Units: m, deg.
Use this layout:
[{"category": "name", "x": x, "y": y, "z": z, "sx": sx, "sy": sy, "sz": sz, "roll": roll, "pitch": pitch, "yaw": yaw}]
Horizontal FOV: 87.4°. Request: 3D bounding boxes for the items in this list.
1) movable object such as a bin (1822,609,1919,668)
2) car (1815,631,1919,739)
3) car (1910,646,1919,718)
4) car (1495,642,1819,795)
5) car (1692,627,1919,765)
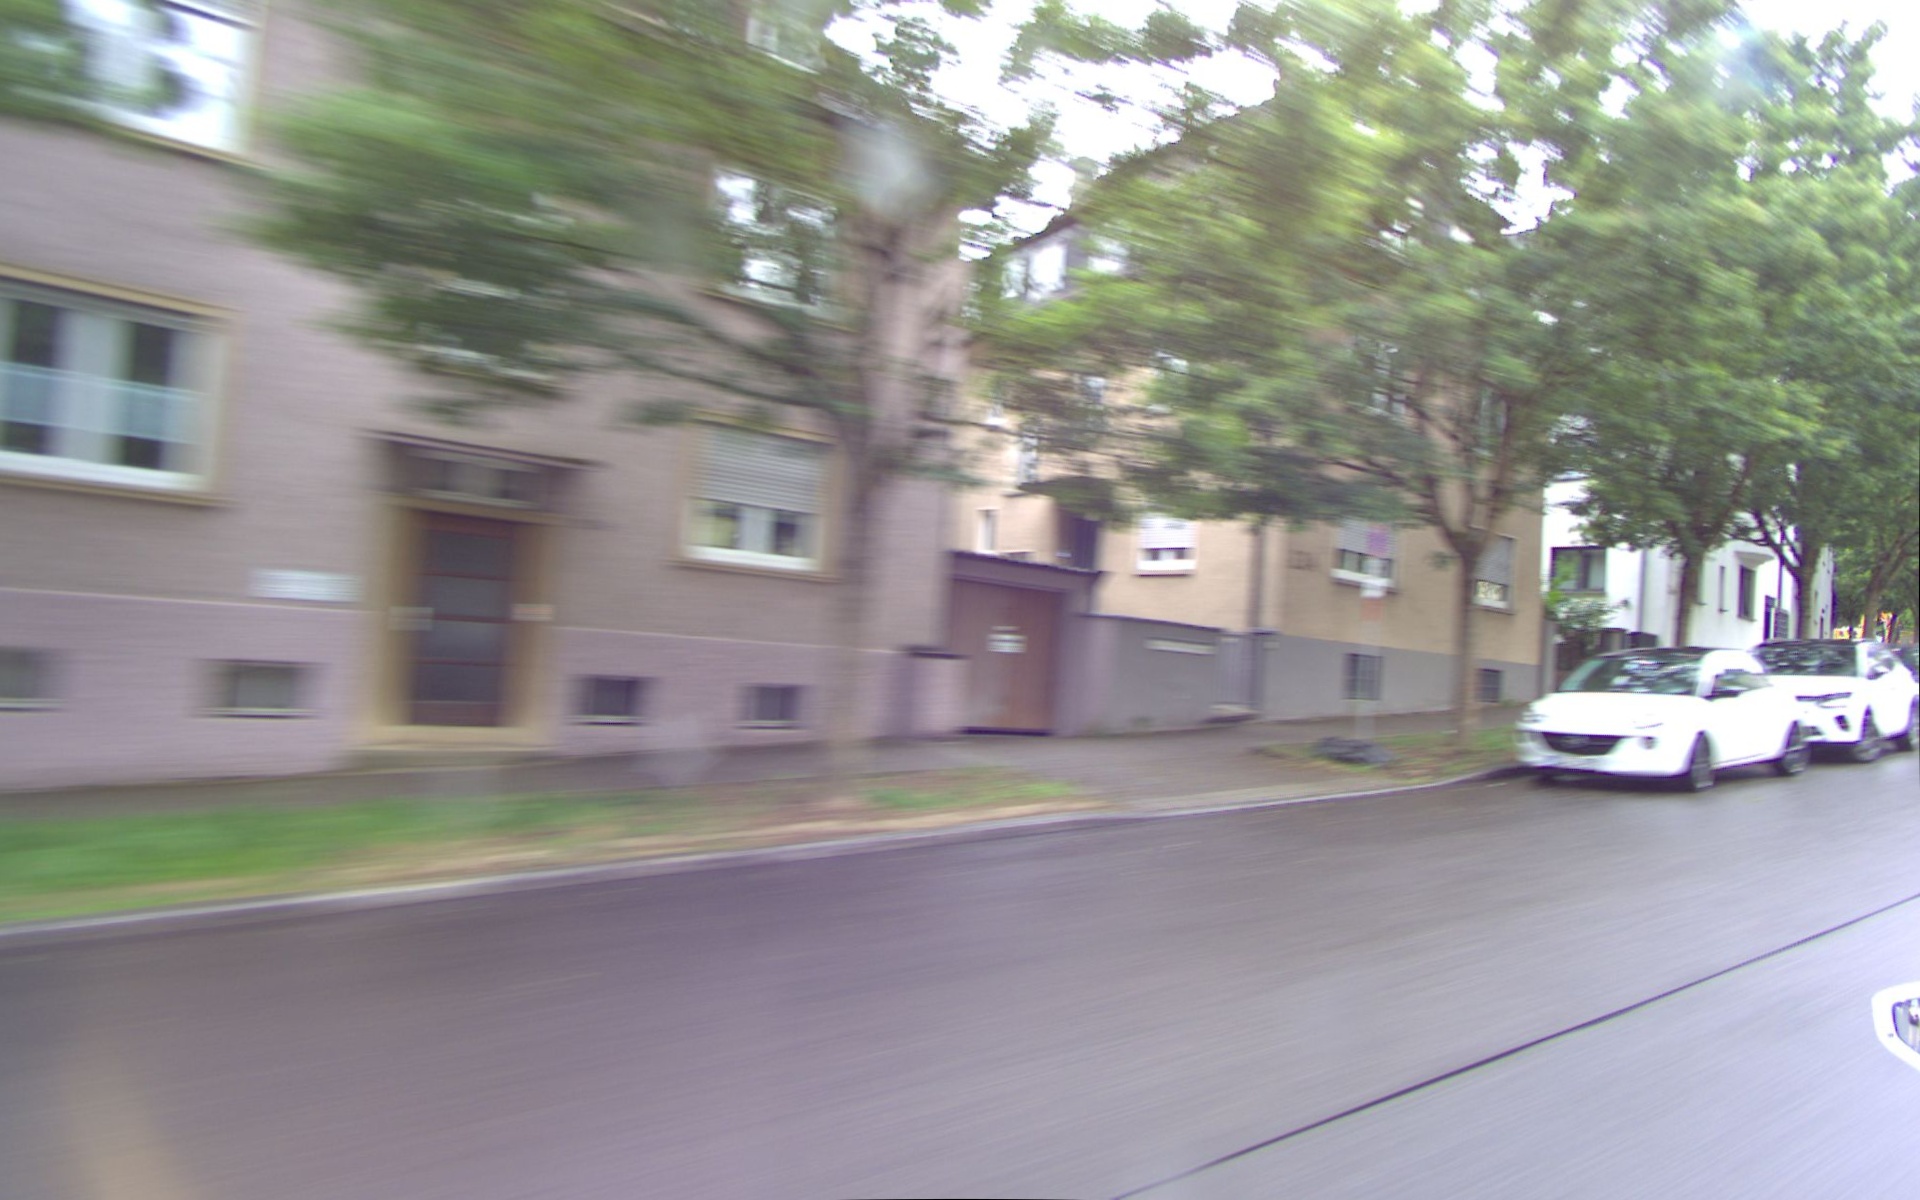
[{"category": "movable object such as a bin", "x": 68.530, "y": 2.788, "z": 74.357, "sx": 2.774, "sy": 4.068, "sz": 7.322, "roll": 2, "pitch": 0, "yaw": -4}, {"category": "car", "x": 16.225, "y": 1.433, "z": 17.194, "sx": 3.889, "sy": 1.679, "sz": 1.606, "roll": 3, "pitch": -6, "yaw": -38}, {"category": "car", "x": 22.108, "y": 1.768, "z": 21.838, "sx": 3.939, "sy": 1.489, "sz": 1.605, "roll": 3, "pitch": -5, "yaw": -40}, {"category": "car", "x": 7.961, "y": 1.281, "z": 11.429, "sx": 3.626, "sy": 1.489, "sz": 1.611, "roll": 2, "pitch": -6, "yaw": -31}, {"category": "car", "x": 11.976, "y": 1.321, "z": 14.097, "sx": 3.887, "sy": 1.679, "sz": 1.582, "roll": 3, "pitch": -7, "yaw": -37}]
